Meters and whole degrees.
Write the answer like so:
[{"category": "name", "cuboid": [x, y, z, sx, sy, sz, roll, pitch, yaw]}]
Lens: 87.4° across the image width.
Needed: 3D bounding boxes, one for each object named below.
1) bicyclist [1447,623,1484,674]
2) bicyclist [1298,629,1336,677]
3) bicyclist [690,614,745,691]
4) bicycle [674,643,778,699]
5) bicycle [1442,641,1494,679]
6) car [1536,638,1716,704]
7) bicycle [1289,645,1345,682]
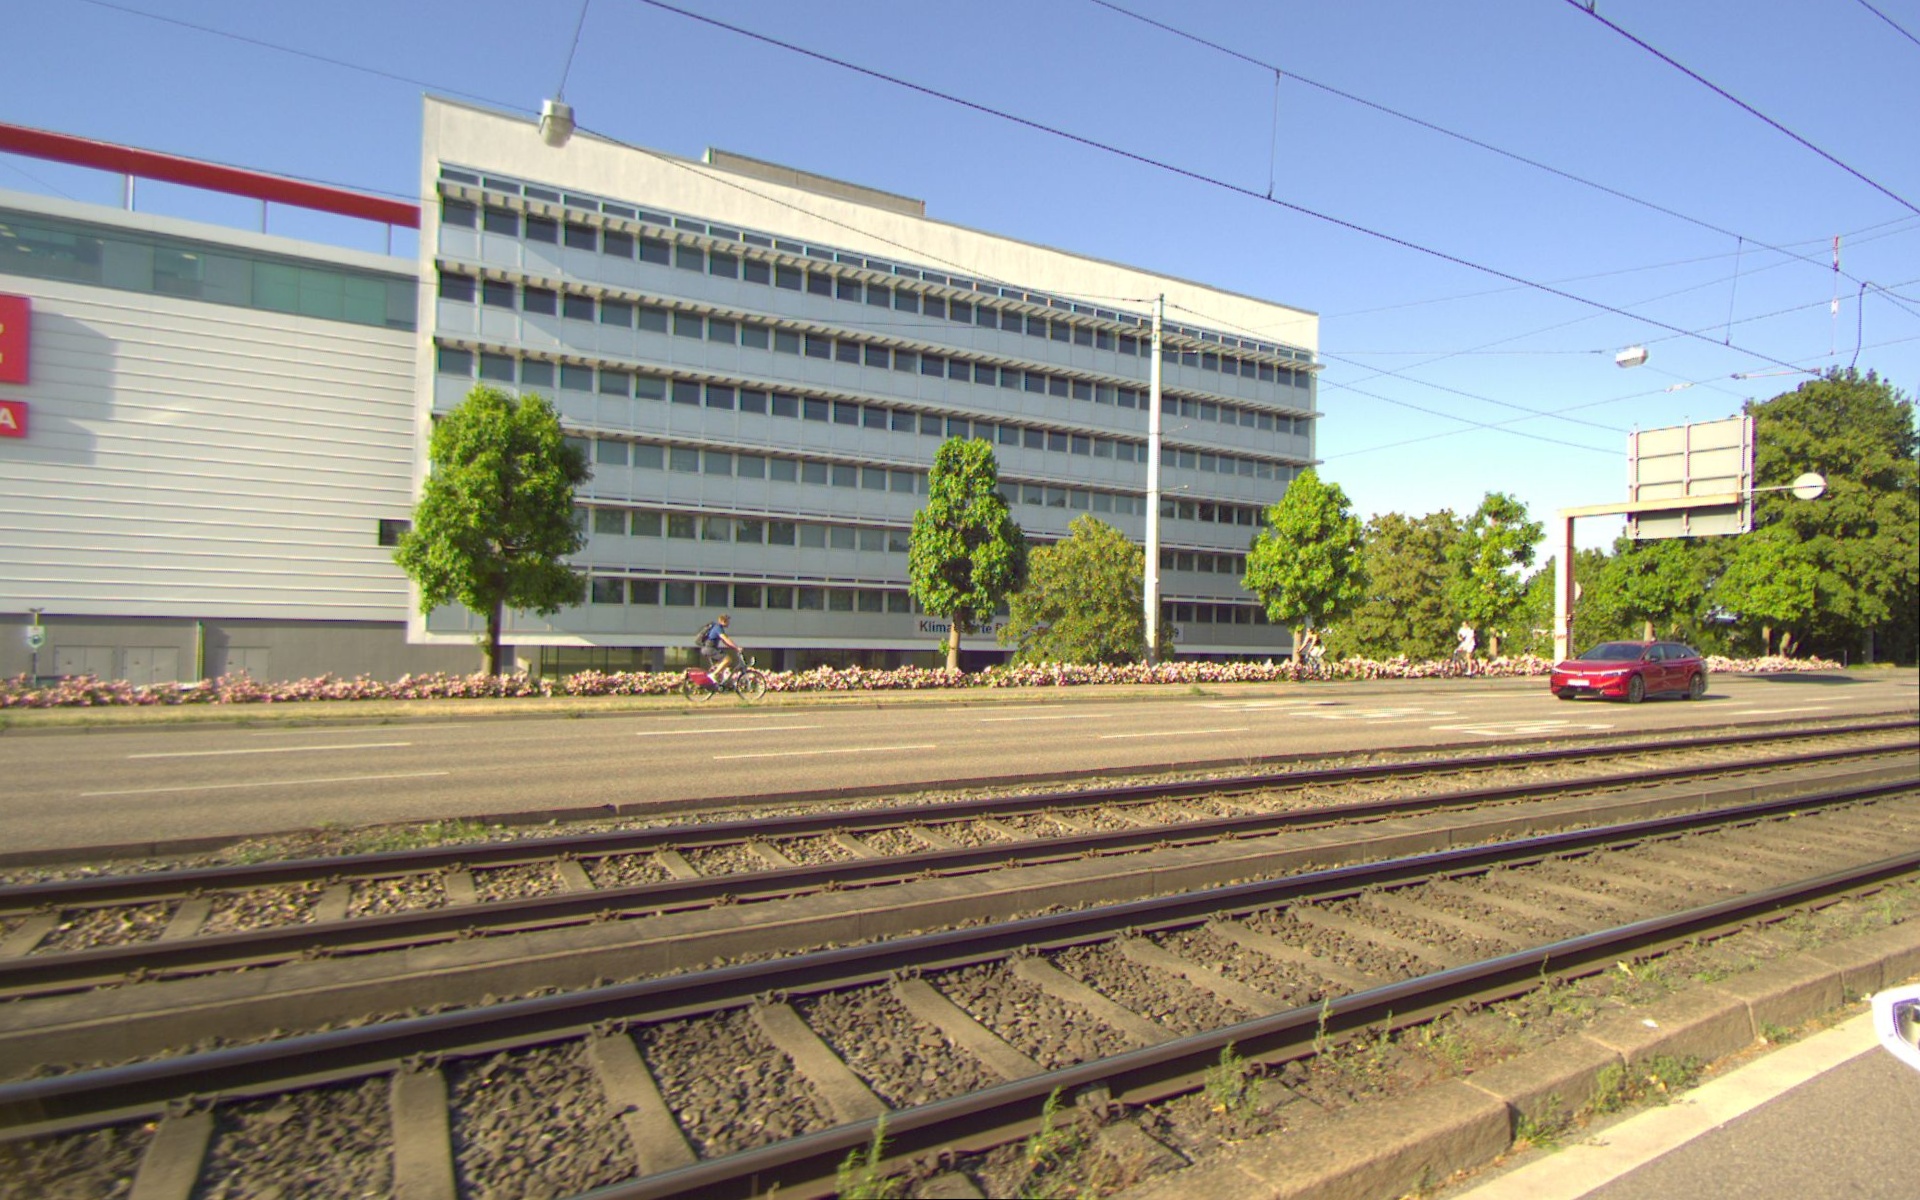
[{"category": "bicyclist", "cuboid": [17.110, 1.630, 34.020, 0.950, 1.681, 0.600, 1, 1, -25]}, {"category": "bicyclist", "cuboid": [10.855, 1.609, 30.523, 0.870, 1.392, 0.621, 1, 2, -30]}, {"category": "bicyclist", "cuboid": [-5.044, 1.077, 20.870, 0.957, 1.532, 0.703, 1, 1, -24]}, {"category": "bicycle", "cuboid": [-4.887, 1.470, 20.953, 1.999, 1.088, 0.703, 2, 1, -24]}, {"category": "bicycle", "cuboid": [17.217, 2.030, 34.067, 1.725, 1.235, 0.601, 2, 1, -25]}, {"category": "car", "cuboid": [17.370, 1.792, 26.153, 4.830, 1.523, 2.030, 1, -1, -30]}, {"category": "bicycle", "cuboid": [10.856, 1.920, 30.538, 1.684, 1.073, 0.621, 1, 2, -31]}]
